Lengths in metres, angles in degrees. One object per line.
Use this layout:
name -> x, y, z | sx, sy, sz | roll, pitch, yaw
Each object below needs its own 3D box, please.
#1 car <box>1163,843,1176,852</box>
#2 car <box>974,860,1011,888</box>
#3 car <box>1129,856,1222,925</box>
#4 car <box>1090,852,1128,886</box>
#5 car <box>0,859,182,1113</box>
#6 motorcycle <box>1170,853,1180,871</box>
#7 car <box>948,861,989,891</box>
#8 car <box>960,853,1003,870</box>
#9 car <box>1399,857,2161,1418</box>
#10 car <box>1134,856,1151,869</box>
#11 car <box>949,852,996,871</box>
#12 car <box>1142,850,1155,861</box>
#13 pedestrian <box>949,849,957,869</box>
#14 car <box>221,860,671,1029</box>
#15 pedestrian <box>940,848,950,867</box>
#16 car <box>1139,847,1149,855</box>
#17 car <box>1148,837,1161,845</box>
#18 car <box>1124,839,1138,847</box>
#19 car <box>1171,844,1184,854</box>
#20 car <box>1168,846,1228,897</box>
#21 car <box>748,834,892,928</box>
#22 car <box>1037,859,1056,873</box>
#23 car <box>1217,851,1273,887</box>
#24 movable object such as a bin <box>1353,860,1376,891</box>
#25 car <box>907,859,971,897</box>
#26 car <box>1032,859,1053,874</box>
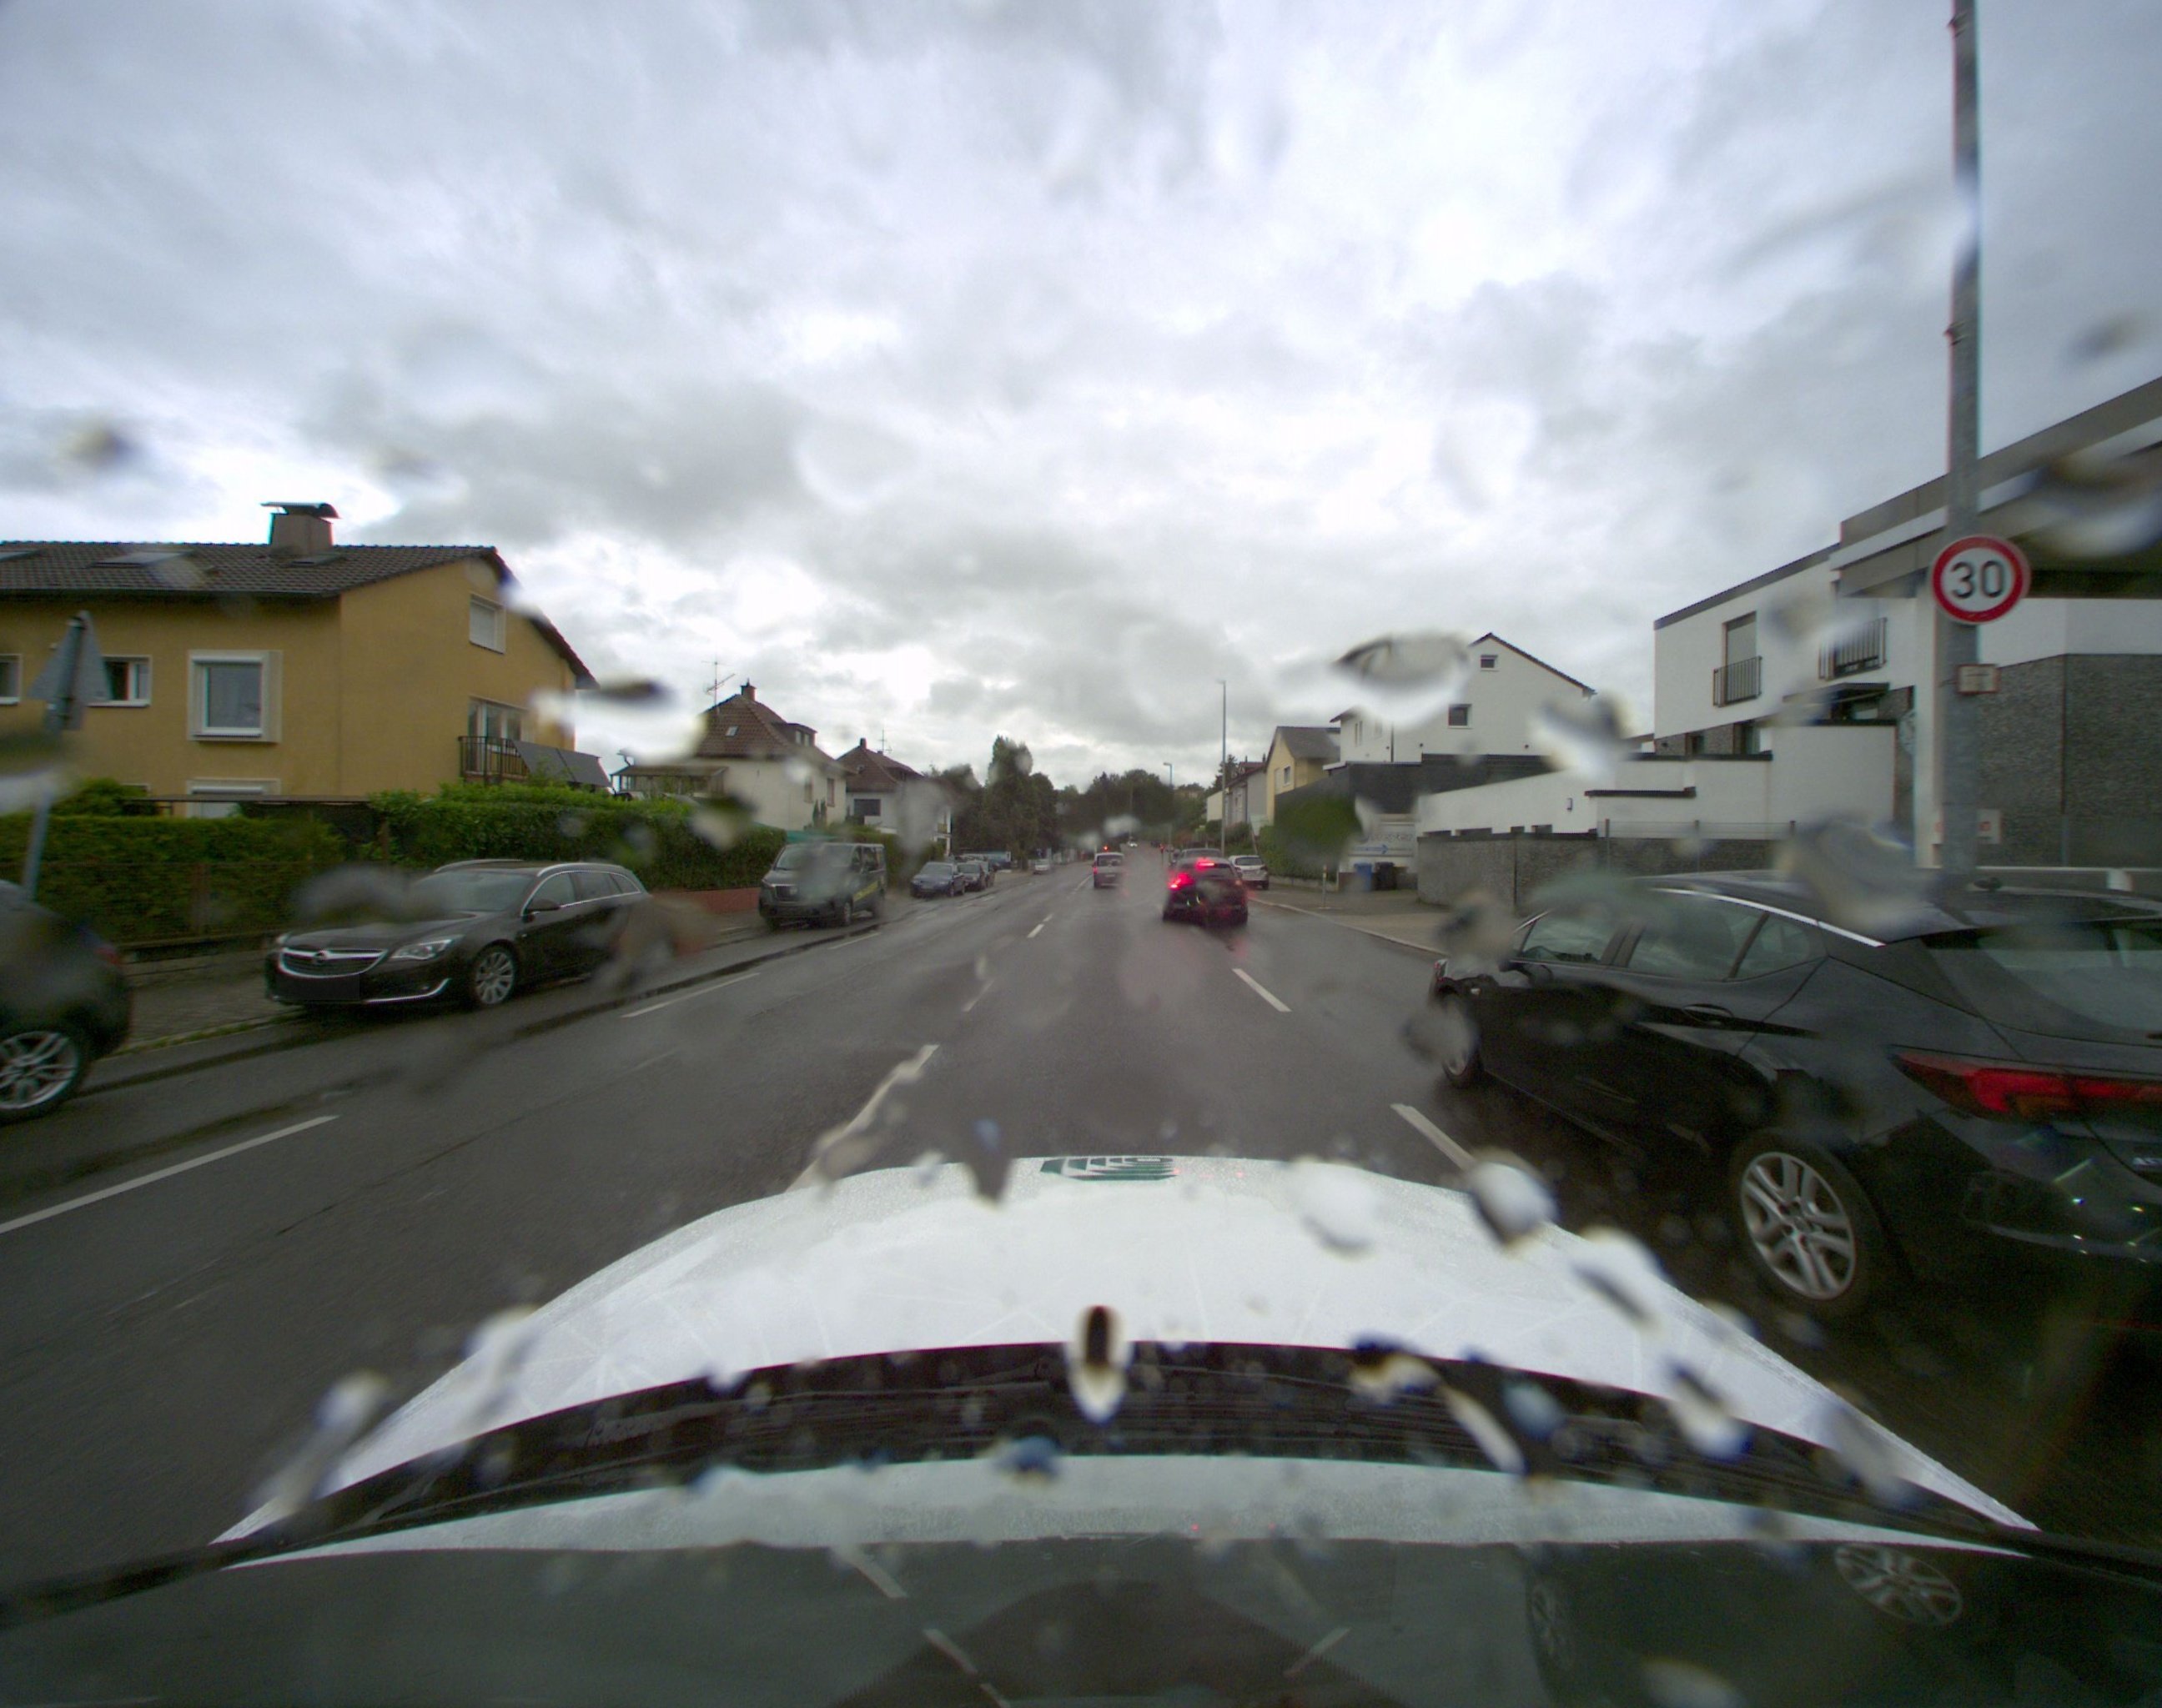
car -> 22.713, -1.664, 209.472 | 2.516, 2.012, 5.604 | 0, 4, -3
car -> -5.122, 1.125, 47.453 | 1.752, 1.533, 4.206 | 0, 0, -1
car -> 2.147, 0.801, 19.507 | 1.985, 1.484, 4.003 | 0, 0, 3
car -> 1.547, 0.797, 44.298 | 1.985, 1.737, 4.002 | 0, 0, 2
car -> -7.071, 0.745, 3.477 | 1.743, 1.439, 4.132 | 0, 0, 3
motorcycle -> 8.260, 0.671, 71.587 | 0.700, 1.509, 2.151 | -3, -1, 2
car -> -5.684, 1.095, 41.476 | 1.546, 1.431, 4.013 | 0, 0, 0
car -> -10.190, 0.801, 83.908 | 4.057, 1.516, 1.856 | 4, 0, 1
car -> 3.220, 0.748, 4.114 | 1.750, 1.449, 4.001 | 0, 0, 1
car -> 7.997, 1.106, 105.988 | 1.986, 1.578, 4.001 | -1, 1, 1
car -> -10.213, 0.743, 76.944 | 4.057, 1.516, 1.856 | 4, 0, 1
car -> 14.377, 0.360, 172.759 | 2.512, 2.013, 5.612 | 0, 3, 2
pedestrian -> -11.412, 0.434, 72.619 | 0.599, 1.791, 0.649 | 3, 0, -3
car -> -6.864, 0.828, 9.611 | 1.744, 1.517, 4.526 | 0, 0, 0
pedestrian -> -12.209, 0.313, 73.191 | 0.597, 1.665, 0.652 | 3, 0, 10
car -> 14.569, -0.709, 189.235 | 1.986, 1.771, 4.002 | -3, 1, 2
car -> 20.475, -3.637, 225.742 | 2.518, 2.012, 5.599 | 1, 5, -6
car -> 13.876, -2.961, 225.892 | 2.522, 2.013, 5.591 | 0, 3, -10
car -> 22.549, -1.251, 191.023 | 2.513, 2.013, 5.611 | 0, 3, 1
car -> 4.271, 0.626, 30.240 | 1.831, 1.767, 4.002 | 0, 0, 2
car -> -6.188, 0.598, 20.001 | 1.907, 2.003, 5.086 | 0, 0, 0
car -> -3.984, 1.335, 94.703 | 1.877, 1.585, 4.002 | 0, 0, 2
car -> 7.236, 0.632, 36.344 | 1.694, 1.510, 4.536 | 0, 0, 2
movable object such as a bin -> 10.498, 0.788, 30.190 | 0.593, 1.105, 0.667 | -3, 0, 1
car -> -6.053, 0.999, 35.286 | 1.749, 1.533, 4.291 | 0, 0, 4
car -> -4.109, 1.309, 88.041 | 1.877, 1.585, 4.002 | 0, 0, 2
